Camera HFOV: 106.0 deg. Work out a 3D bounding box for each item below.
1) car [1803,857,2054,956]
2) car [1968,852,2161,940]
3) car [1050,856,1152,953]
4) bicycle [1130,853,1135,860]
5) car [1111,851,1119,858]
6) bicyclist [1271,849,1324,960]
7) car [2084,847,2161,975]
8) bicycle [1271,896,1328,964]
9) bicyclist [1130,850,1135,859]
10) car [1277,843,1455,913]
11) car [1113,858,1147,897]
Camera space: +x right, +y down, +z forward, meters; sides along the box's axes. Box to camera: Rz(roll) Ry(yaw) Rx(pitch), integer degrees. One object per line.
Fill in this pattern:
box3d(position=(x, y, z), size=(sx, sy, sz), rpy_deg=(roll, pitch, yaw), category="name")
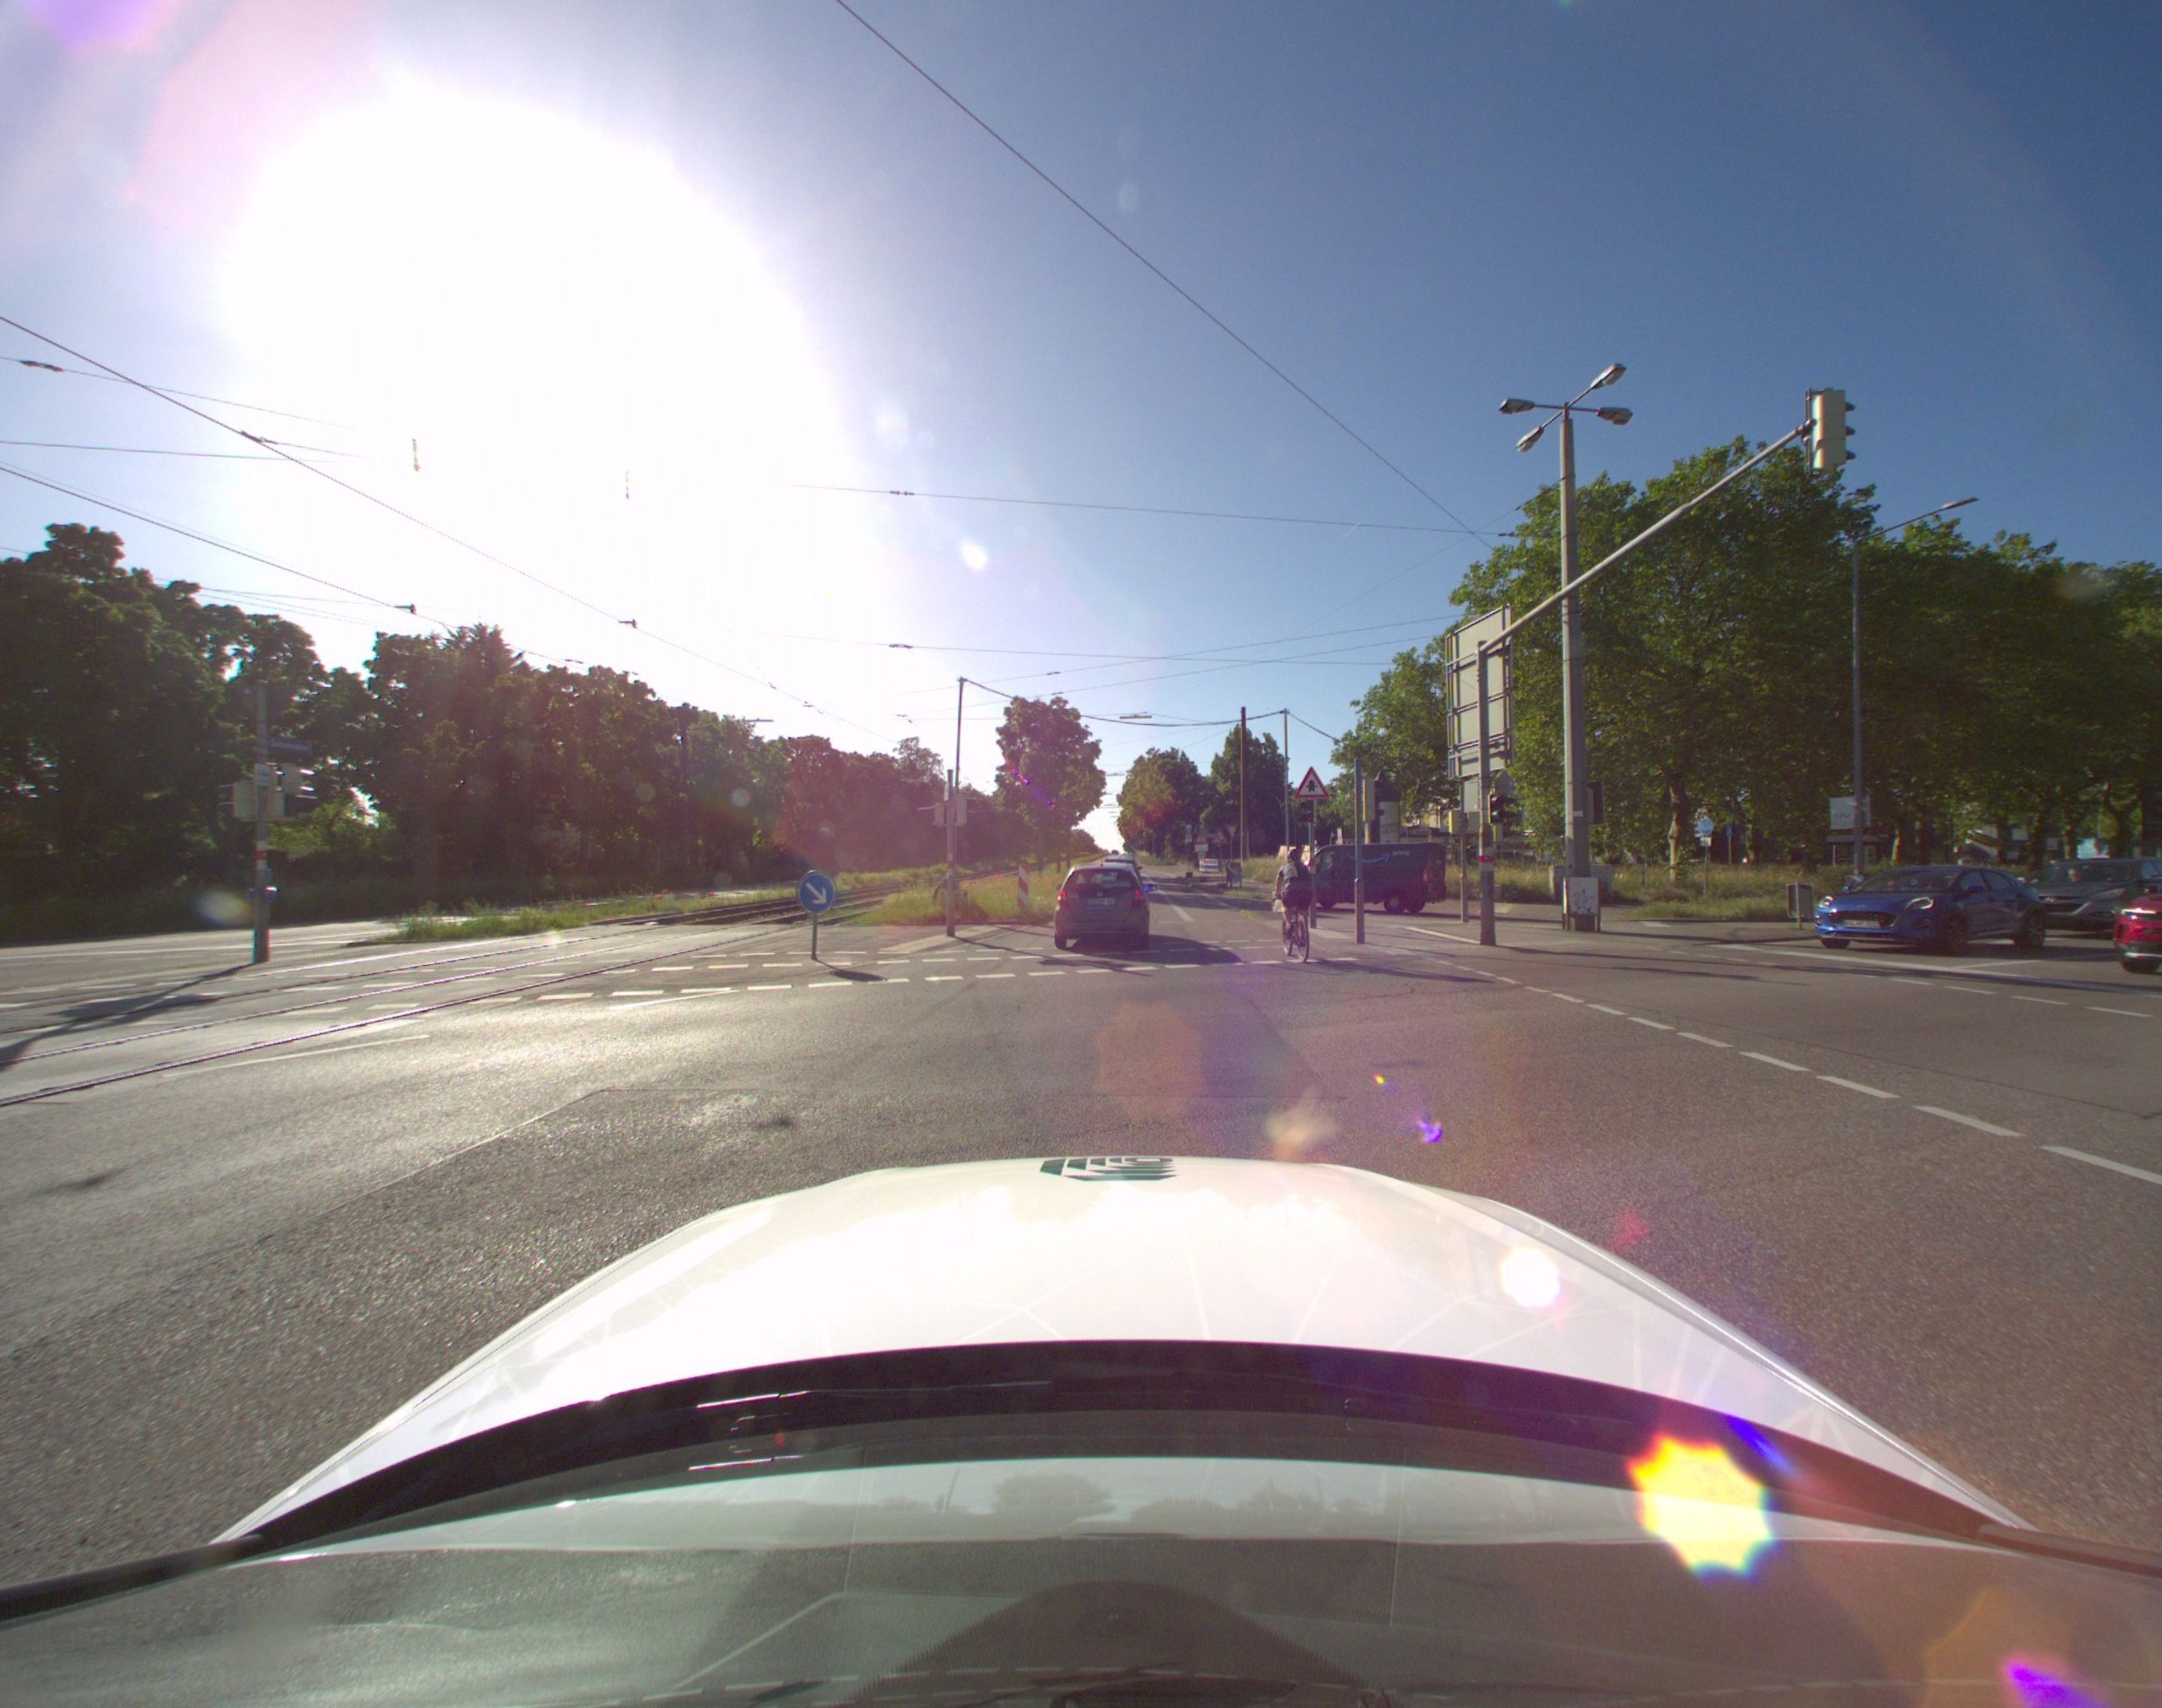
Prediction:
box3d(position=(15.351, 0.877, 14.775), size=(3.859, 1.600, 1.702), rpy_deg=(0, -1, -20), category="car")
box3d(position=(21.329, 0.825, 17.417), size=(4.180, 1.678, 1.919), rpy_deg=(0, -1, -24), category="car")
box3d(position=(0.481, 0.848, 15.393), size=(1.663, 1.515, 3.678), rpy_deg=(1, 1, 5), category="car")
box3d(position=(8.520, 0.395, 134.378), size=(0.814, 1.048, 2.508), rpy_deg=(0, -2, 4), category="bicycle")
box3d(position=(9.824, 0.246, 235.381), size=(1.985, 2.014, 4.004), rpy_deg=(-1, -1, 4), category="car")
box3d(position=(3.391, 0.771, 12.830), size=(0.612, 1.679, 0.934), rpy_deg=(-1, -1, 4), category="bicyclist")
box3d(position=(15.565, 0.698, 10.649), size=(4.090, 1.600, 1.804), rpy_deg=(0, -1, -20), category="car")
box3d(position=(3.412, 1.158, 12.881), size=(0.521, 0.923, 2.092), rpy_deg=(-1, -1, 5), category="bicycle")
box3d(position=(8.534, 0.048, 134.407), size=(0.814, 1.524, 0.967), rpy_deg=(0, -2, 4), category="bicyclist")
box3d(position=(9.213, 0.756, 26.499), size=(5.053, 2.070, 2.144), rpy_deg=(-1, -1, 35), category="car")
box3d(position=(2.080, 0.963, 34.229), size=(1.345, 1.528, 3.126), rpy_deg=(-1, -1, 4), category="car")
